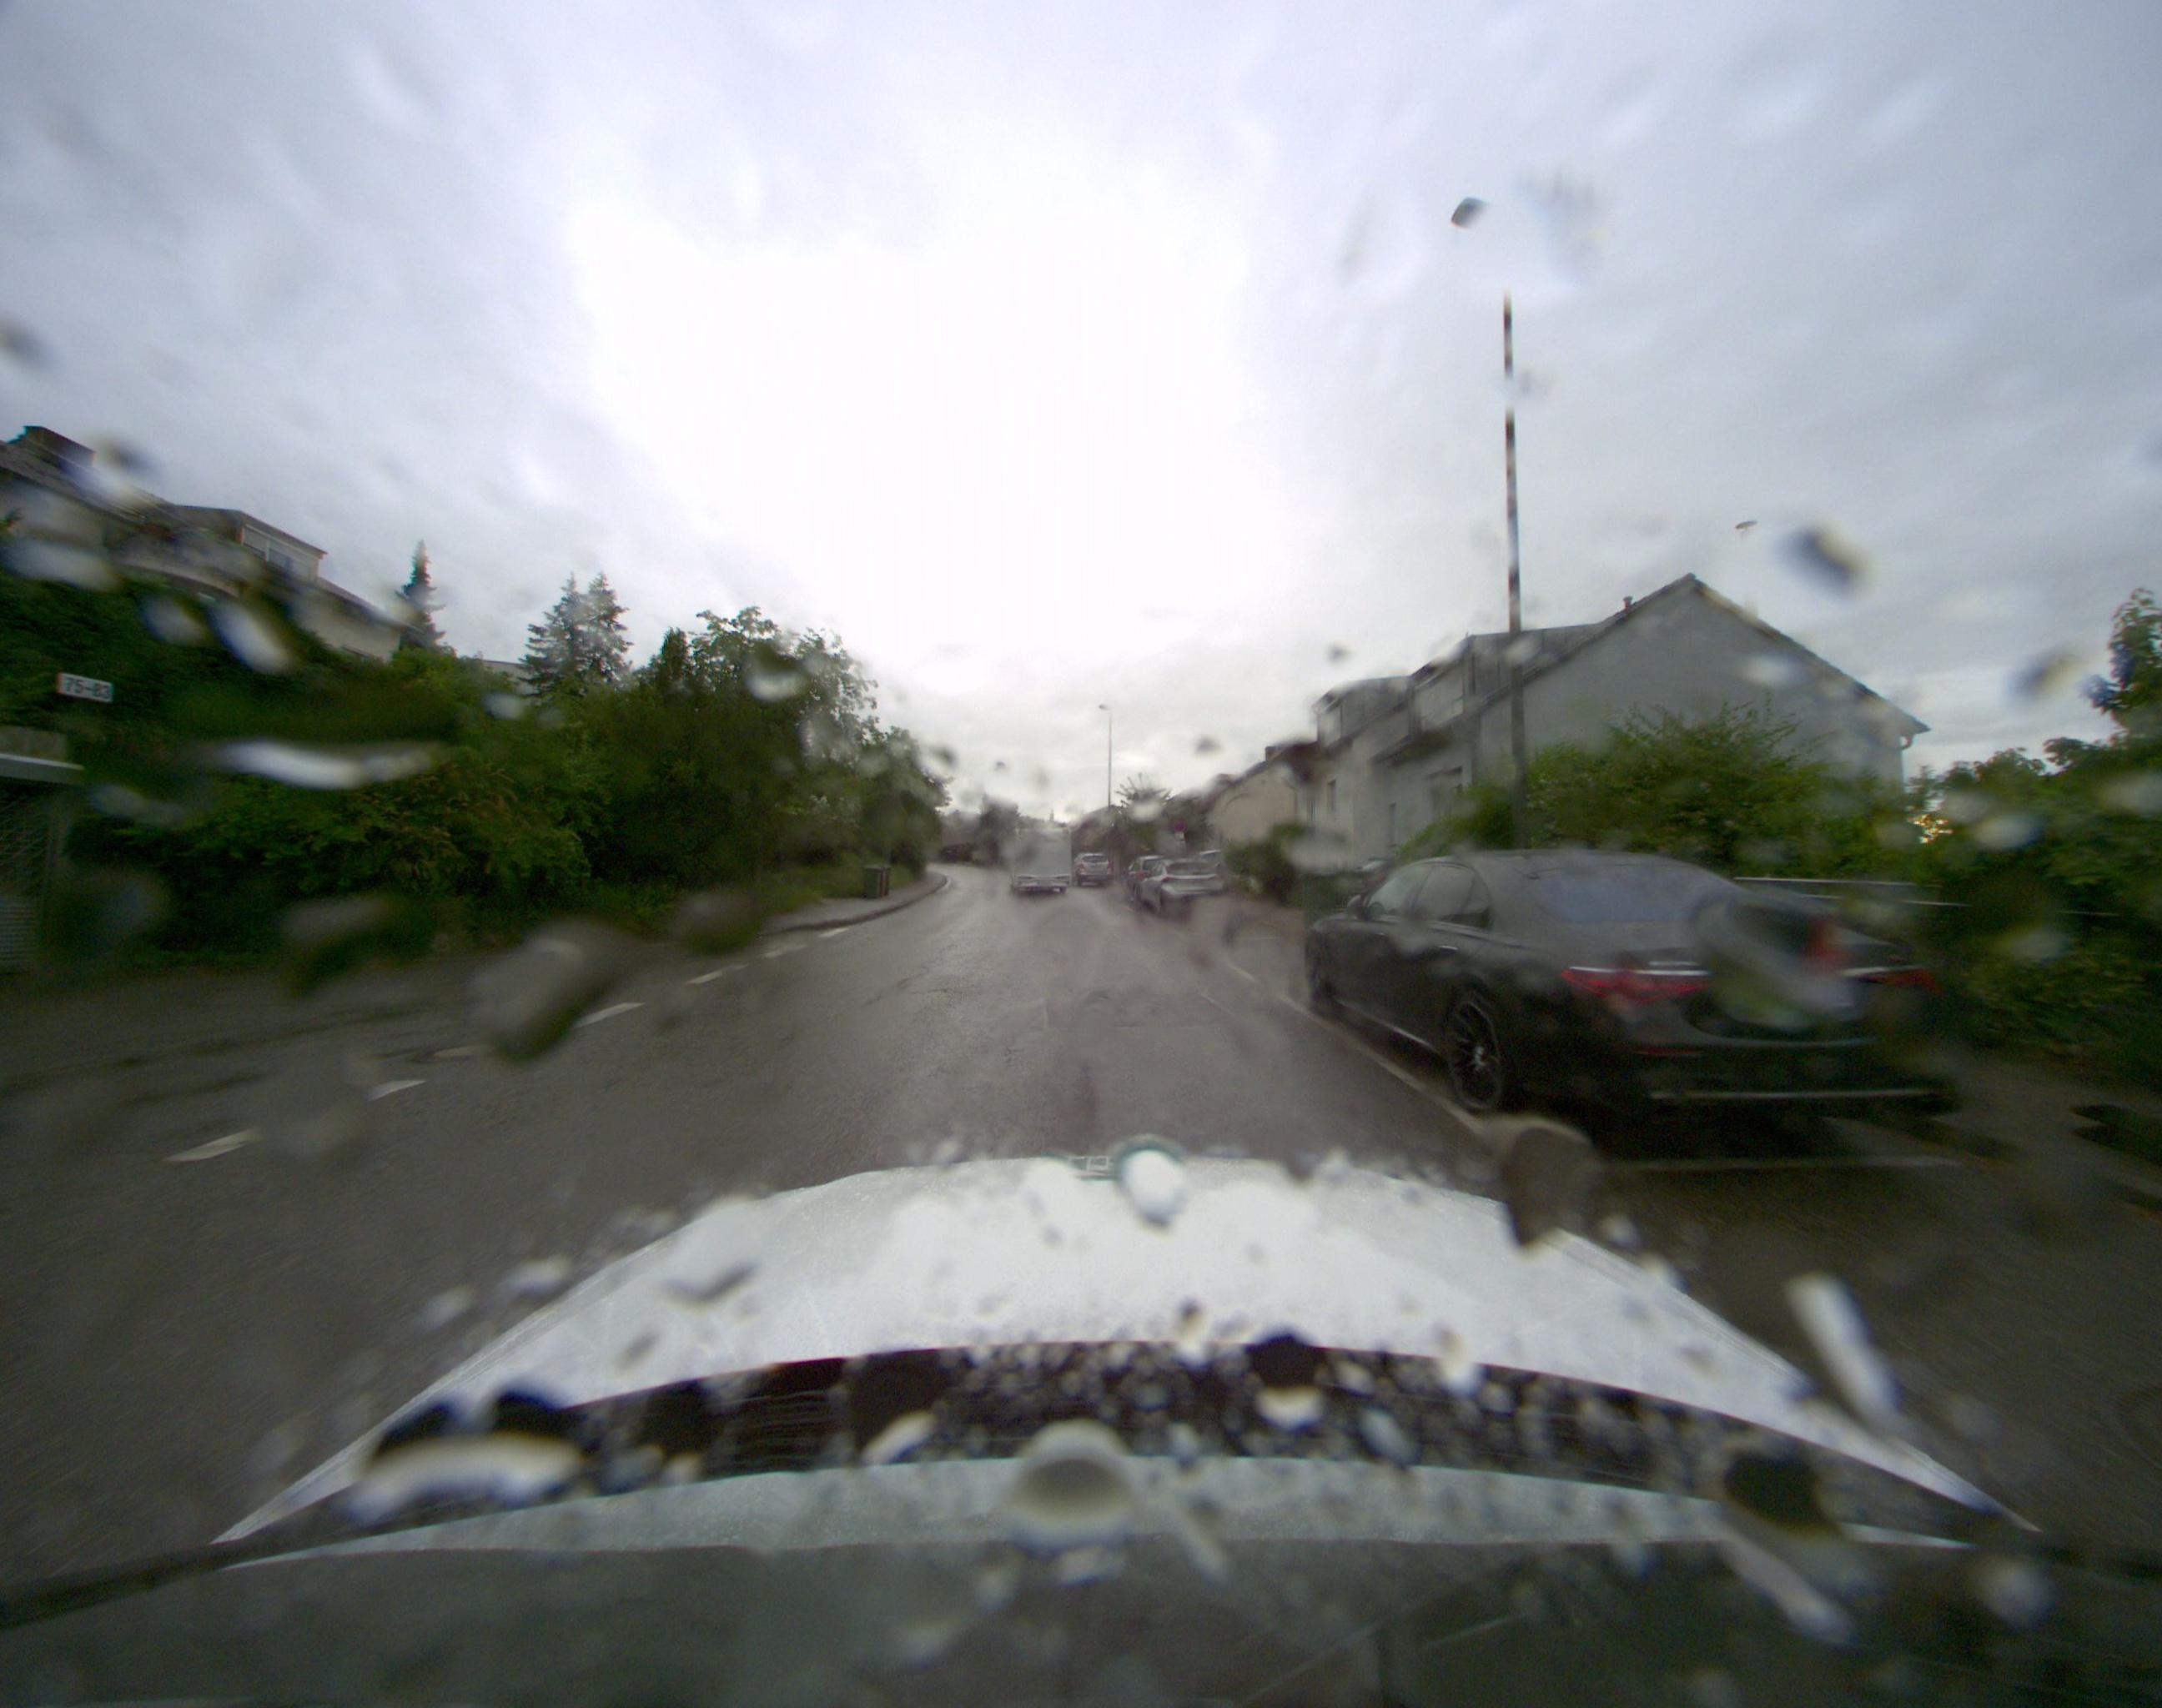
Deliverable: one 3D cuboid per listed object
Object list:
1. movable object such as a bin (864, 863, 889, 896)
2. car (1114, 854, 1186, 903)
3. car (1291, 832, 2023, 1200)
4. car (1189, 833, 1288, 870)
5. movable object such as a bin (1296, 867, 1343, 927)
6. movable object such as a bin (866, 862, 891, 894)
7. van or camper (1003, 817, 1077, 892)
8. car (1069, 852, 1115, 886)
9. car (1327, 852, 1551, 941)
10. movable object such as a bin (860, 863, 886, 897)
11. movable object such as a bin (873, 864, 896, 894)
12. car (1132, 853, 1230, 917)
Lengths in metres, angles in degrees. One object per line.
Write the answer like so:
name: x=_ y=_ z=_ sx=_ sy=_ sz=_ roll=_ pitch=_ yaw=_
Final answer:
movable object such as a bin: x=-7.007 y=0.865 z=27.875 sx=0.768 sy=1.096 sz=0.735 roll=-1 pitch=0 yaw=-10
car: x=2.225 y=0.760 z=27.091 sx=1.657 sy=1.467 sz=3.755 roll=-2 pitch=0 yaw=-6
car: x=3.163 y=0.697 z=6.072 sx=1.851 sy=1.527 sz=5.063 roll=-2 pitch=0 yaw=0
car: x=6.967 y=-0.084 z=36.284 sx=3.978 sy=1.590 sz=1.932 roll=0 pitch=-2 yaw=-4
movable object such as a bin: x=4.432 y=0.786 z=15.167 sx=0.674 sy=1.068 sz=0.645 roll=-1 pitch=0 yaw=-2
movable object such as a bin: x=-7.109 y=0.835 z=28.619 sx=0.768 sy=1.096 sz=0.669 roll=-1 pitch=0 yaw=-10
van or camper: x=-1.860 y=0.055 z=34.854 sx=2.540 sy=2.925 sz=5.928 roll=0 pitch=-1 yaw=-9
car: x=0.517 y=0.727 z=41.522 sx=1.802 sy=1.626 sz=4.278 roll=-2 pitch=0 yaw=-6
car: x=7.765 y=0.899 z=17.940 sx=3.979 sy=1.442 sz=1.997 roll=6 pitch=-1 yaw=-4
movable object such as a bin: x=-6.921 y=0.865 z=27.111 sx=0.768 sy=1.096 sz=0.735 roll=-1 pitch=0 yaw=-10
movable object such as a bin: x=-7.072 y=0.887 z=29.358 sx=0.768 sy=1.068 sz=0.688 roll=-1 pitch=0 yaw=-10
car: x=2.557 y=0.757 z=21.799 sx=1.765 sy=1.467 sz=4.227 roll=-2 pitch=0 yaw=-5
